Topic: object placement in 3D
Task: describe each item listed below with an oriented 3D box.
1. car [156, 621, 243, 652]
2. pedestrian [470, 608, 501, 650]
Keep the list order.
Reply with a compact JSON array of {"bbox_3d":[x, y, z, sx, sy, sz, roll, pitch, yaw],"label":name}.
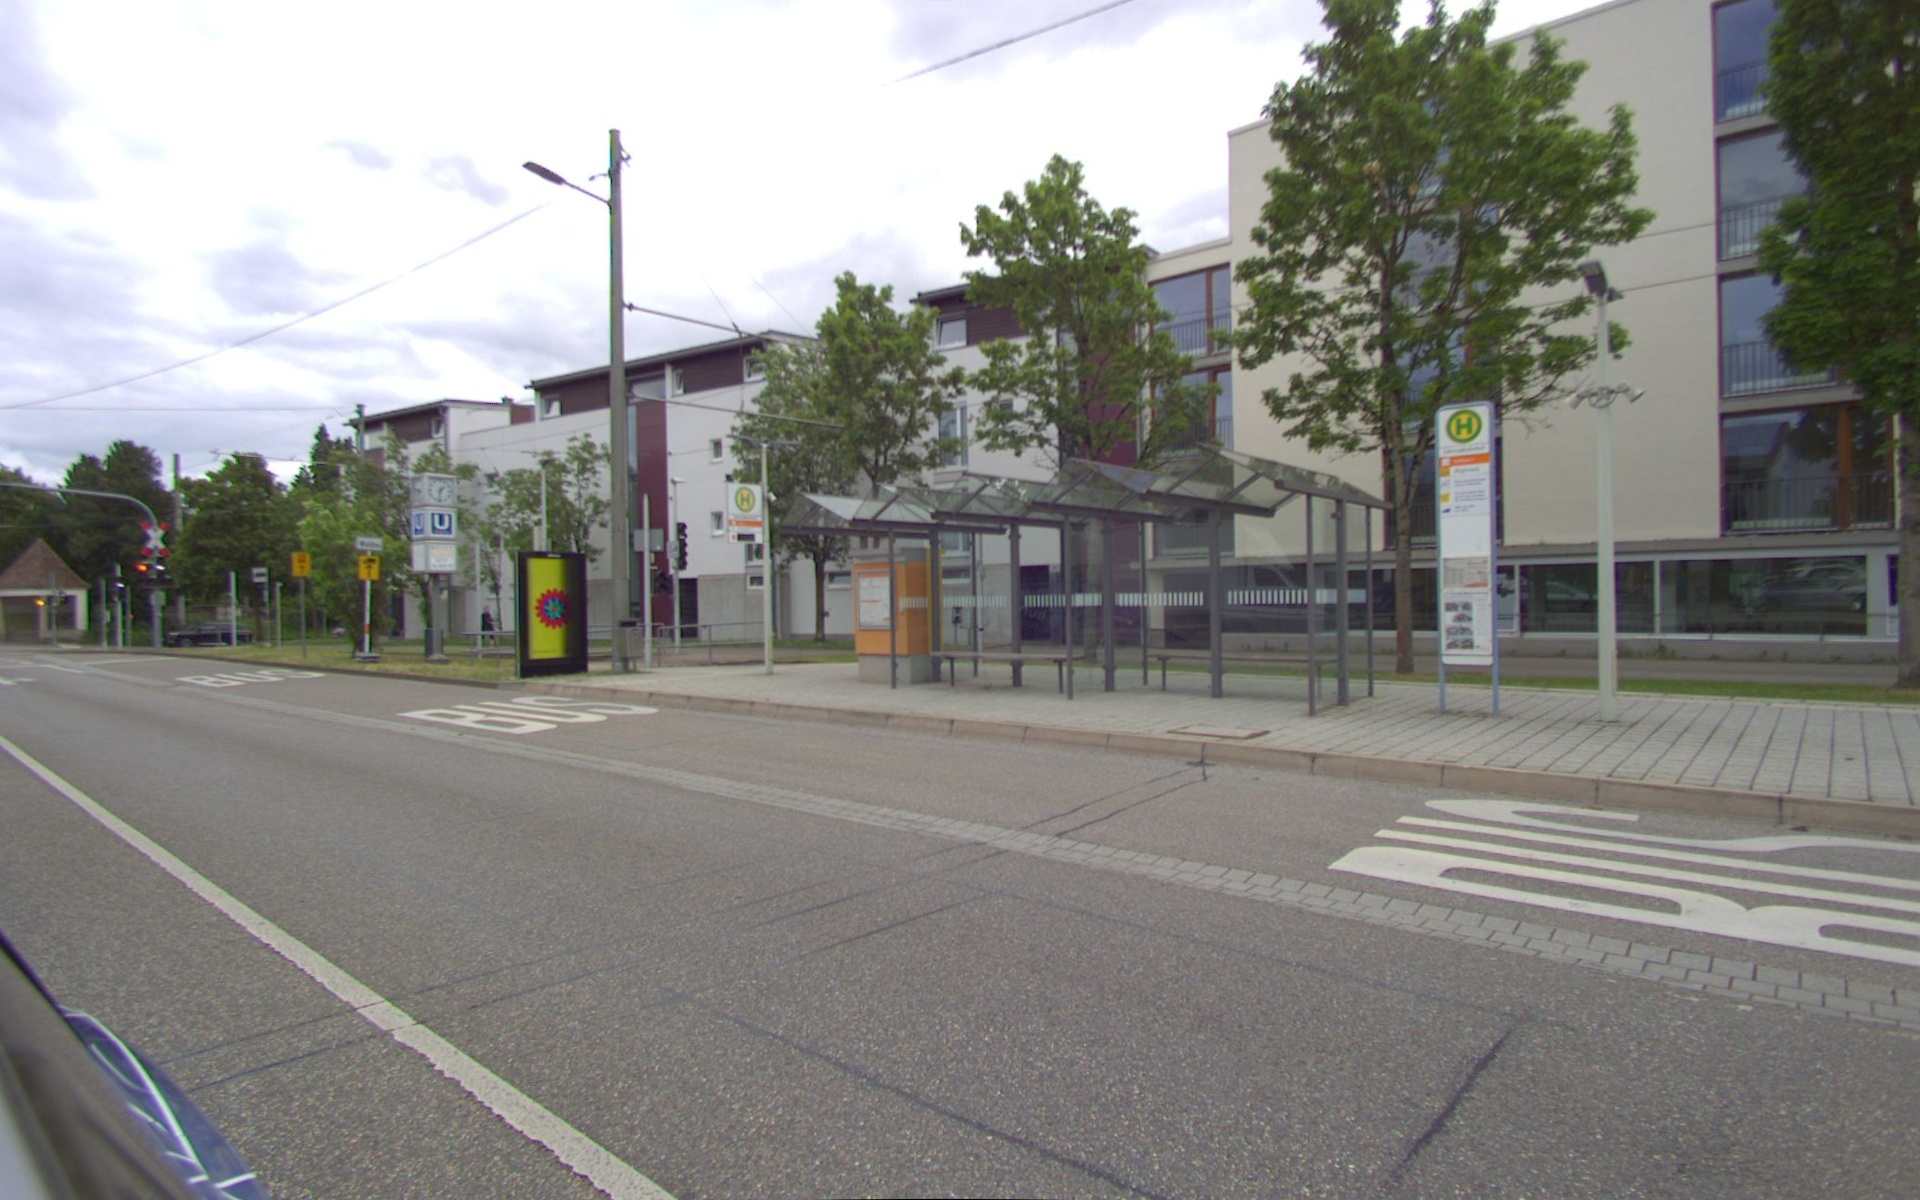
[{"bbox_3d":[-46.731,2.205,62.243,1.926,1.719,3.949,-1,0,38],"label":"car"},{"bbox_3d":[-18.406,1.122,39.275,0.778,1.607,0.773,-1,0,32],"label":"pedestrian"}]
